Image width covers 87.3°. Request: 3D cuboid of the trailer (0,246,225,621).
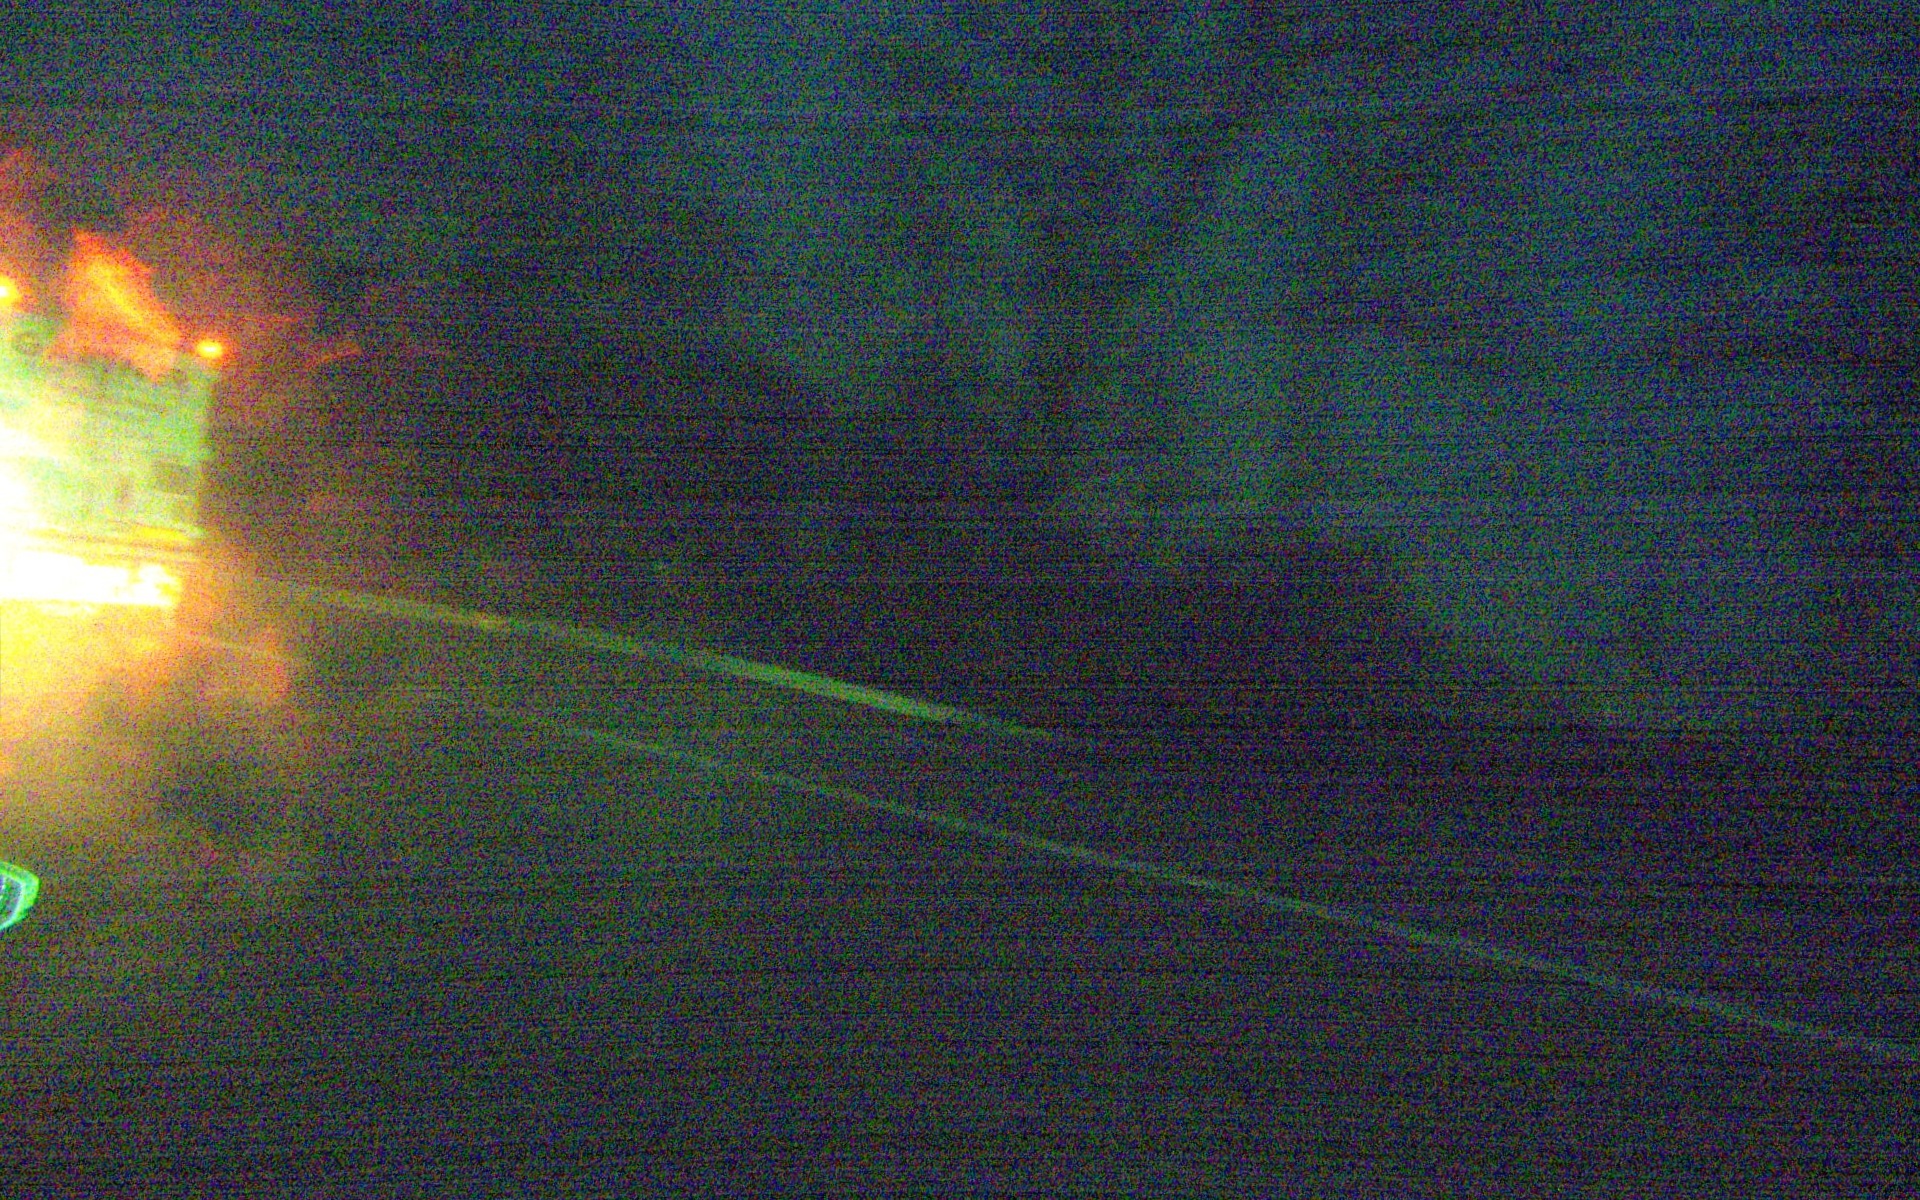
[{"bbox_3d":[-16.673,-2.512,15.982,13.145,4.300,2.743,6,0,30],"label":"trailer"}]
